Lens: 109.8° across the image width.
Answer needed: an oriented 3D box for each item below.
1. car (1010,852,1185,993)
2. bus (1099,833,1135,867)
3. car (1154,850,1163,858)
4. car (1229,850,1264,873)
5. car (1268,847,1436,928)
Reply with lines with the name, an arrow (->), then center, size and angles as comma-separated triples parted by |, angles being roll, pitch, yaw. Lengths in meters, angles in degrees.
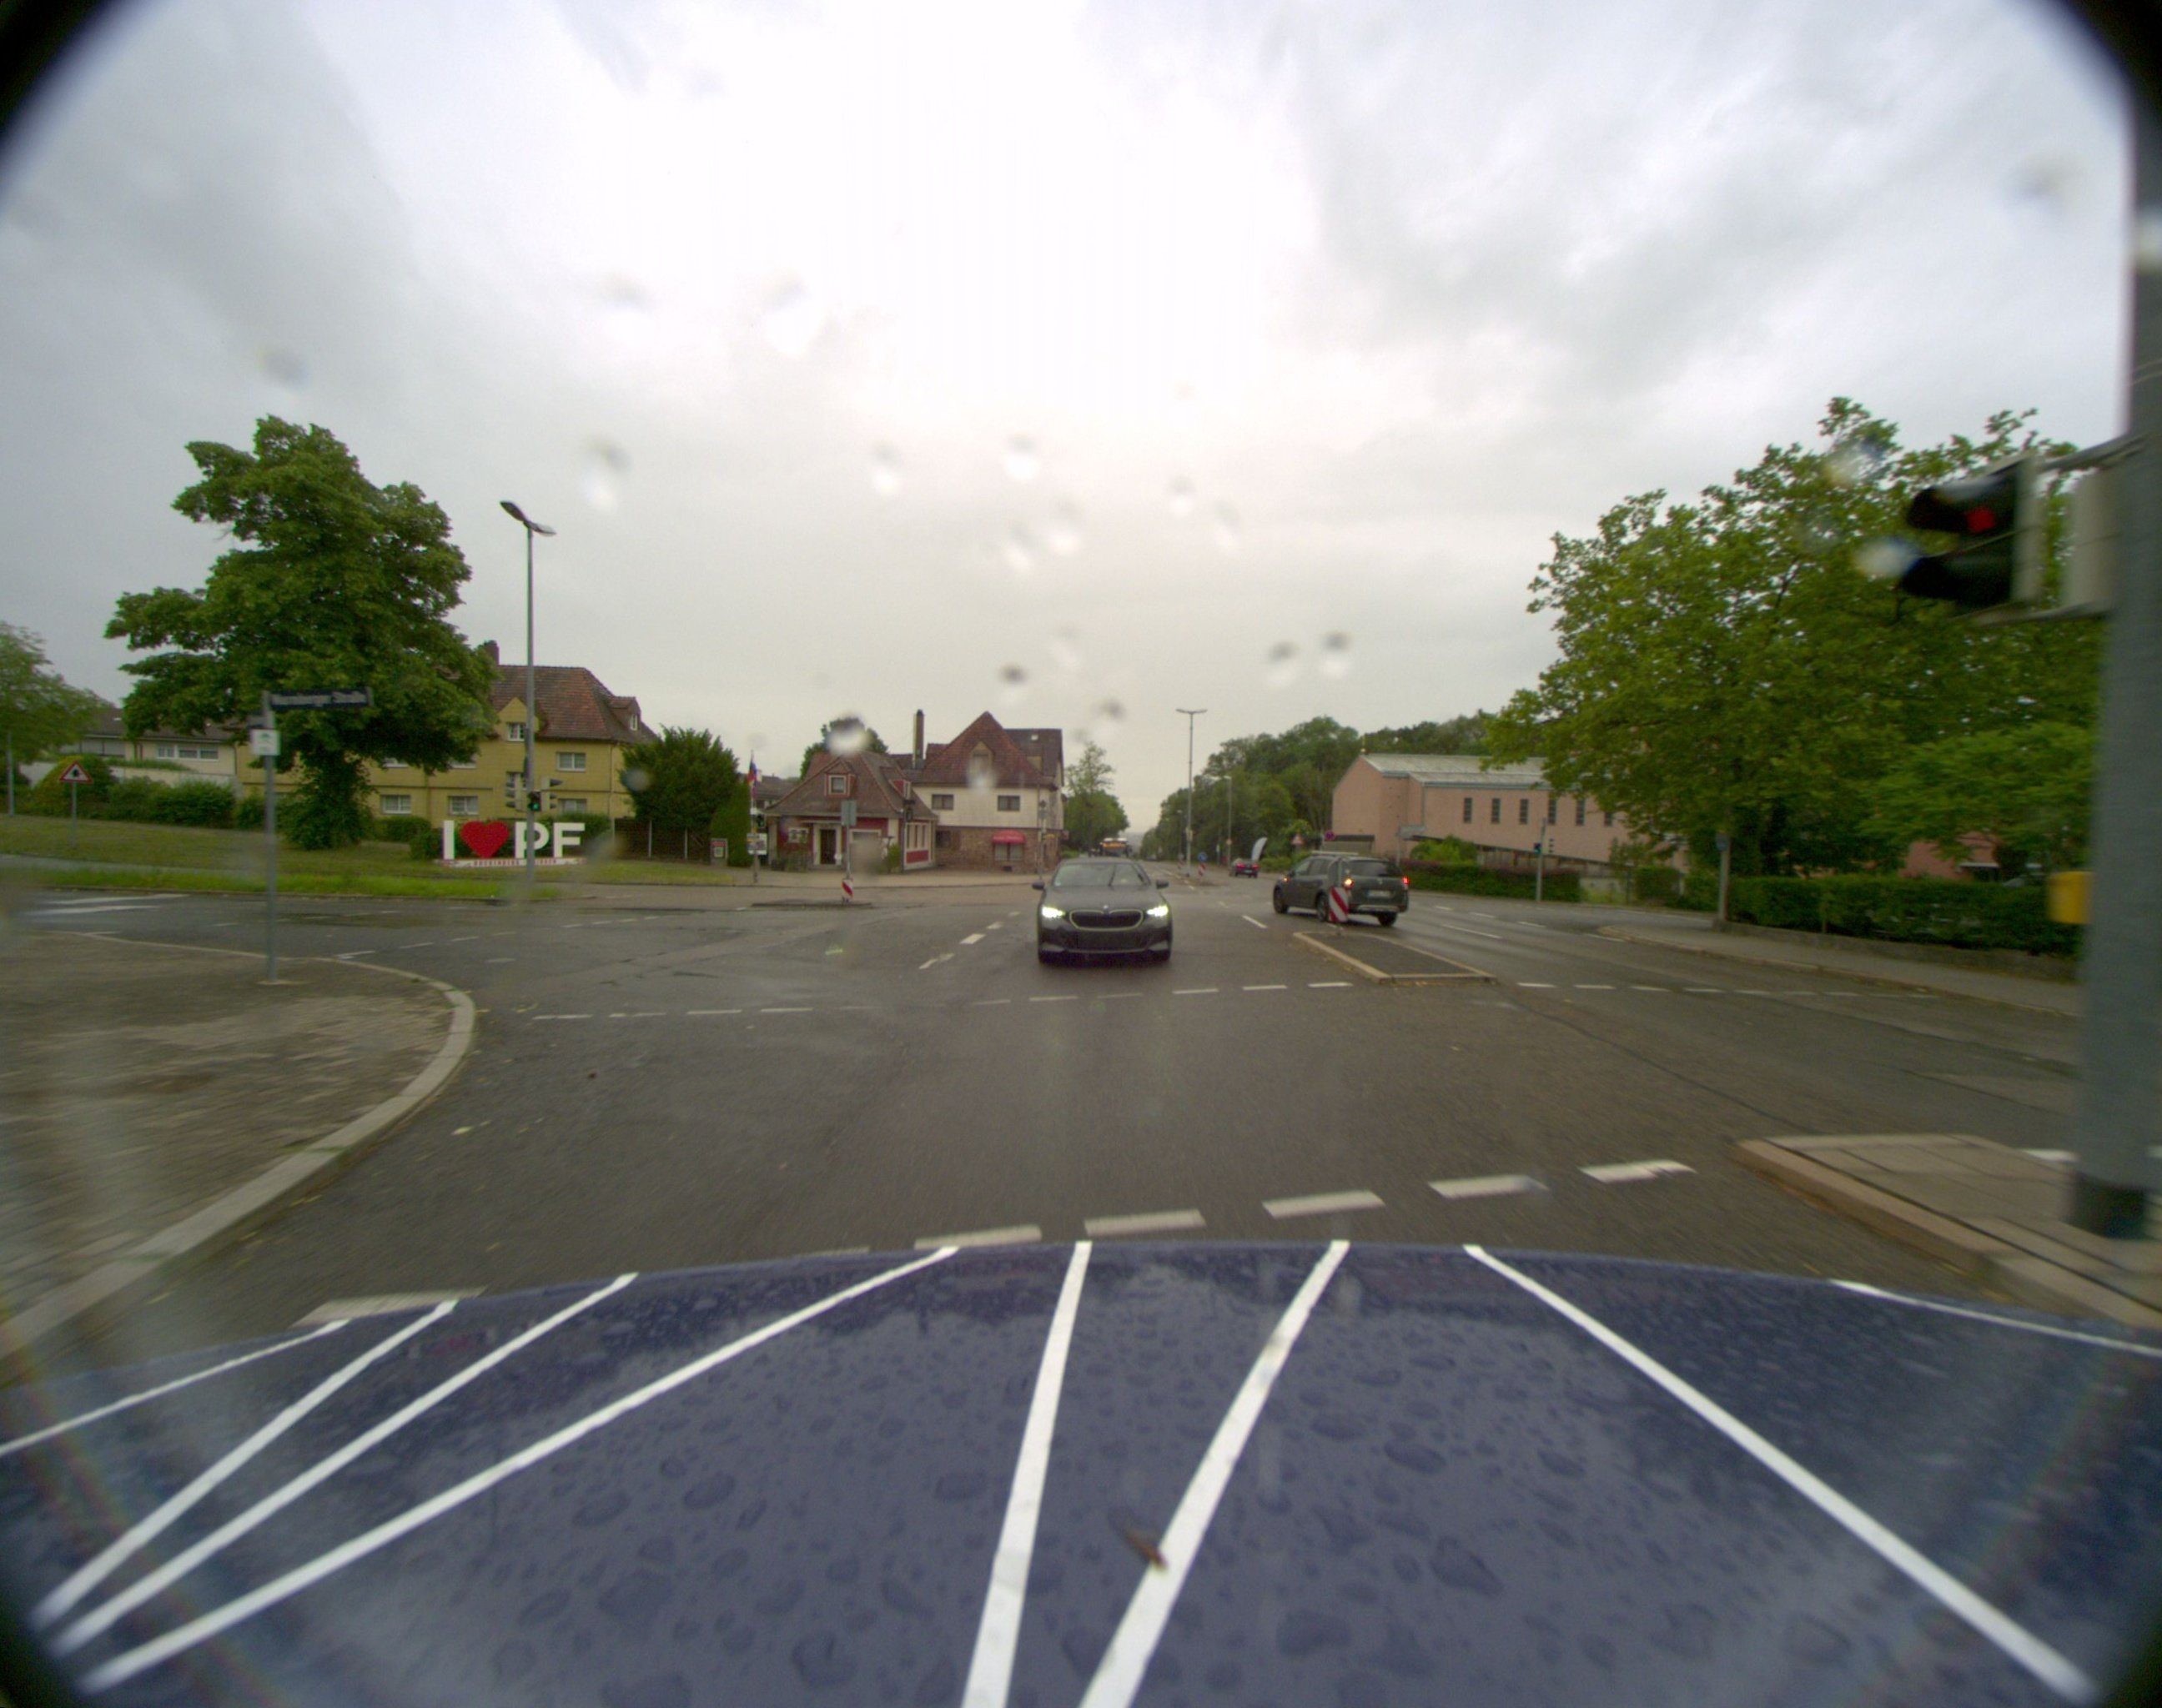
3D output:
car -> 0.201, 0.805, 10.954 | 1.998, 1.586, 4.147 | -2, 0, 0
bus -> 3.162, -0.422, 68.182 | 2.897, 2.770, 10.386 | -1, 1, 2
car -> 18.899, -0.003, 186.085 | 1.998, 1.652, 4.305 | 2, 0, 4
car -> 12.787, 0.586, 58.989 | 1.998, 1.652, 4.305 | 2, 0, 4
car -> 6.291, 0.708, 18.240 | 2.000, 1.652, 4.300 | 2, 0, -8
